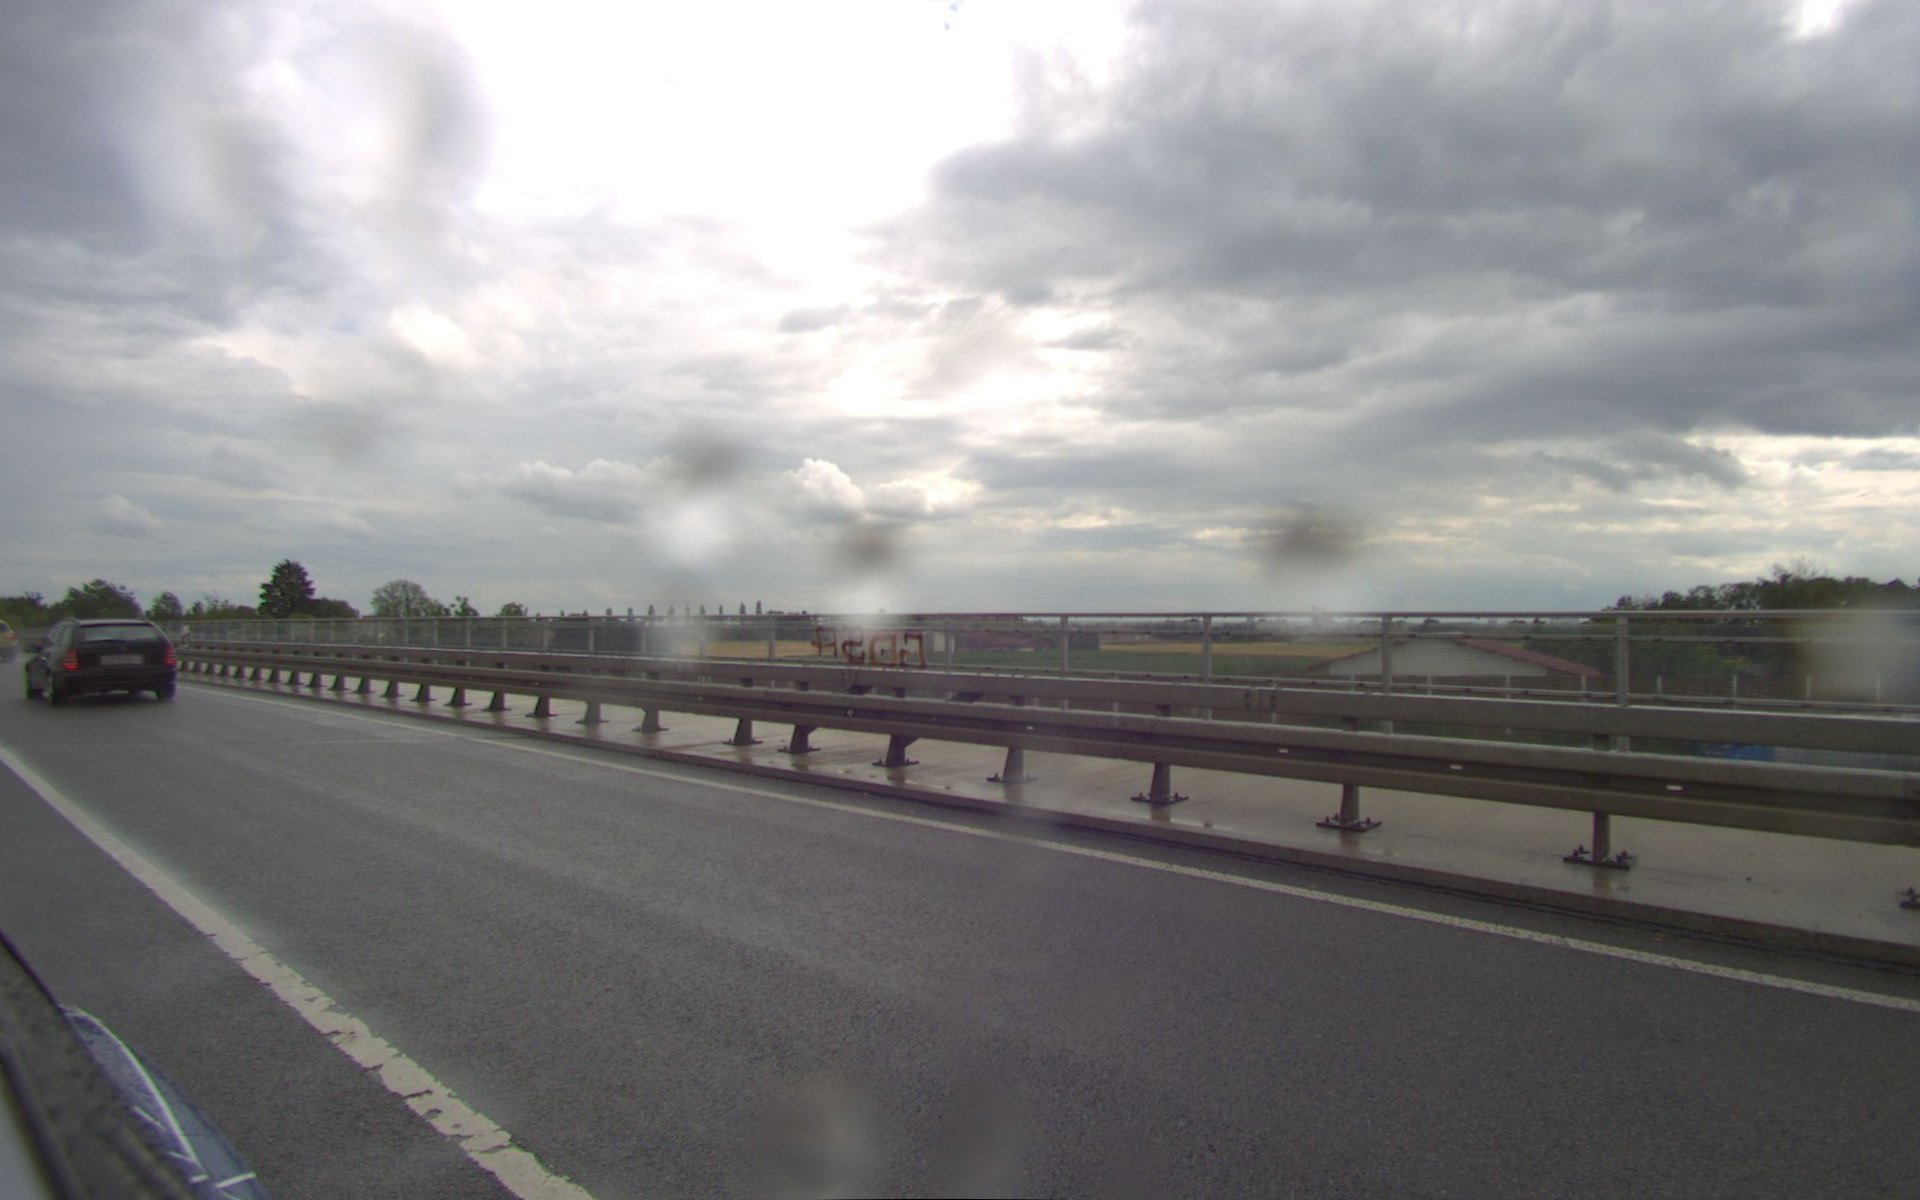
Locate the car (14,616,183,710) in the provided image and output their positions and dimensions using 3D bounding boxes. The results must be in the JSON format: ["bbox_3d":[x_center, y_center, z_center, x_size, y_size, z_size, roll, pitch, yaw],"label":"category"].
[{"bbox_3d":[-15.417,1.043,18.036,4.321,1.443,1.679,-2,0,41],"label":"car"}]

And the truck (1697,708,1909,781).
[{"bbox_3d":[51.006,8.705,61.363,11.006,3.790,2.438,-1,0,-2],"label":"truck"}]

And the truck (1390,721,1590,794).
[{"bbox_3d":[32.451,9.610,62.118,11.006,3.790,2.438,-1,0,-2],"label":"truck"}]

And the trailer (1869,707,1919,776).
[{"bbox_3d":[61.149,8.483,61.761,9.320,3.790,2.438,-1,0,-2],"label":"trailer"}]

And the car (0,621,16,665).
[{"bbox_3d":[-36.502,1.579,37.600,3.858,1.528,1.696,0,1,41],"label":"car"}]
